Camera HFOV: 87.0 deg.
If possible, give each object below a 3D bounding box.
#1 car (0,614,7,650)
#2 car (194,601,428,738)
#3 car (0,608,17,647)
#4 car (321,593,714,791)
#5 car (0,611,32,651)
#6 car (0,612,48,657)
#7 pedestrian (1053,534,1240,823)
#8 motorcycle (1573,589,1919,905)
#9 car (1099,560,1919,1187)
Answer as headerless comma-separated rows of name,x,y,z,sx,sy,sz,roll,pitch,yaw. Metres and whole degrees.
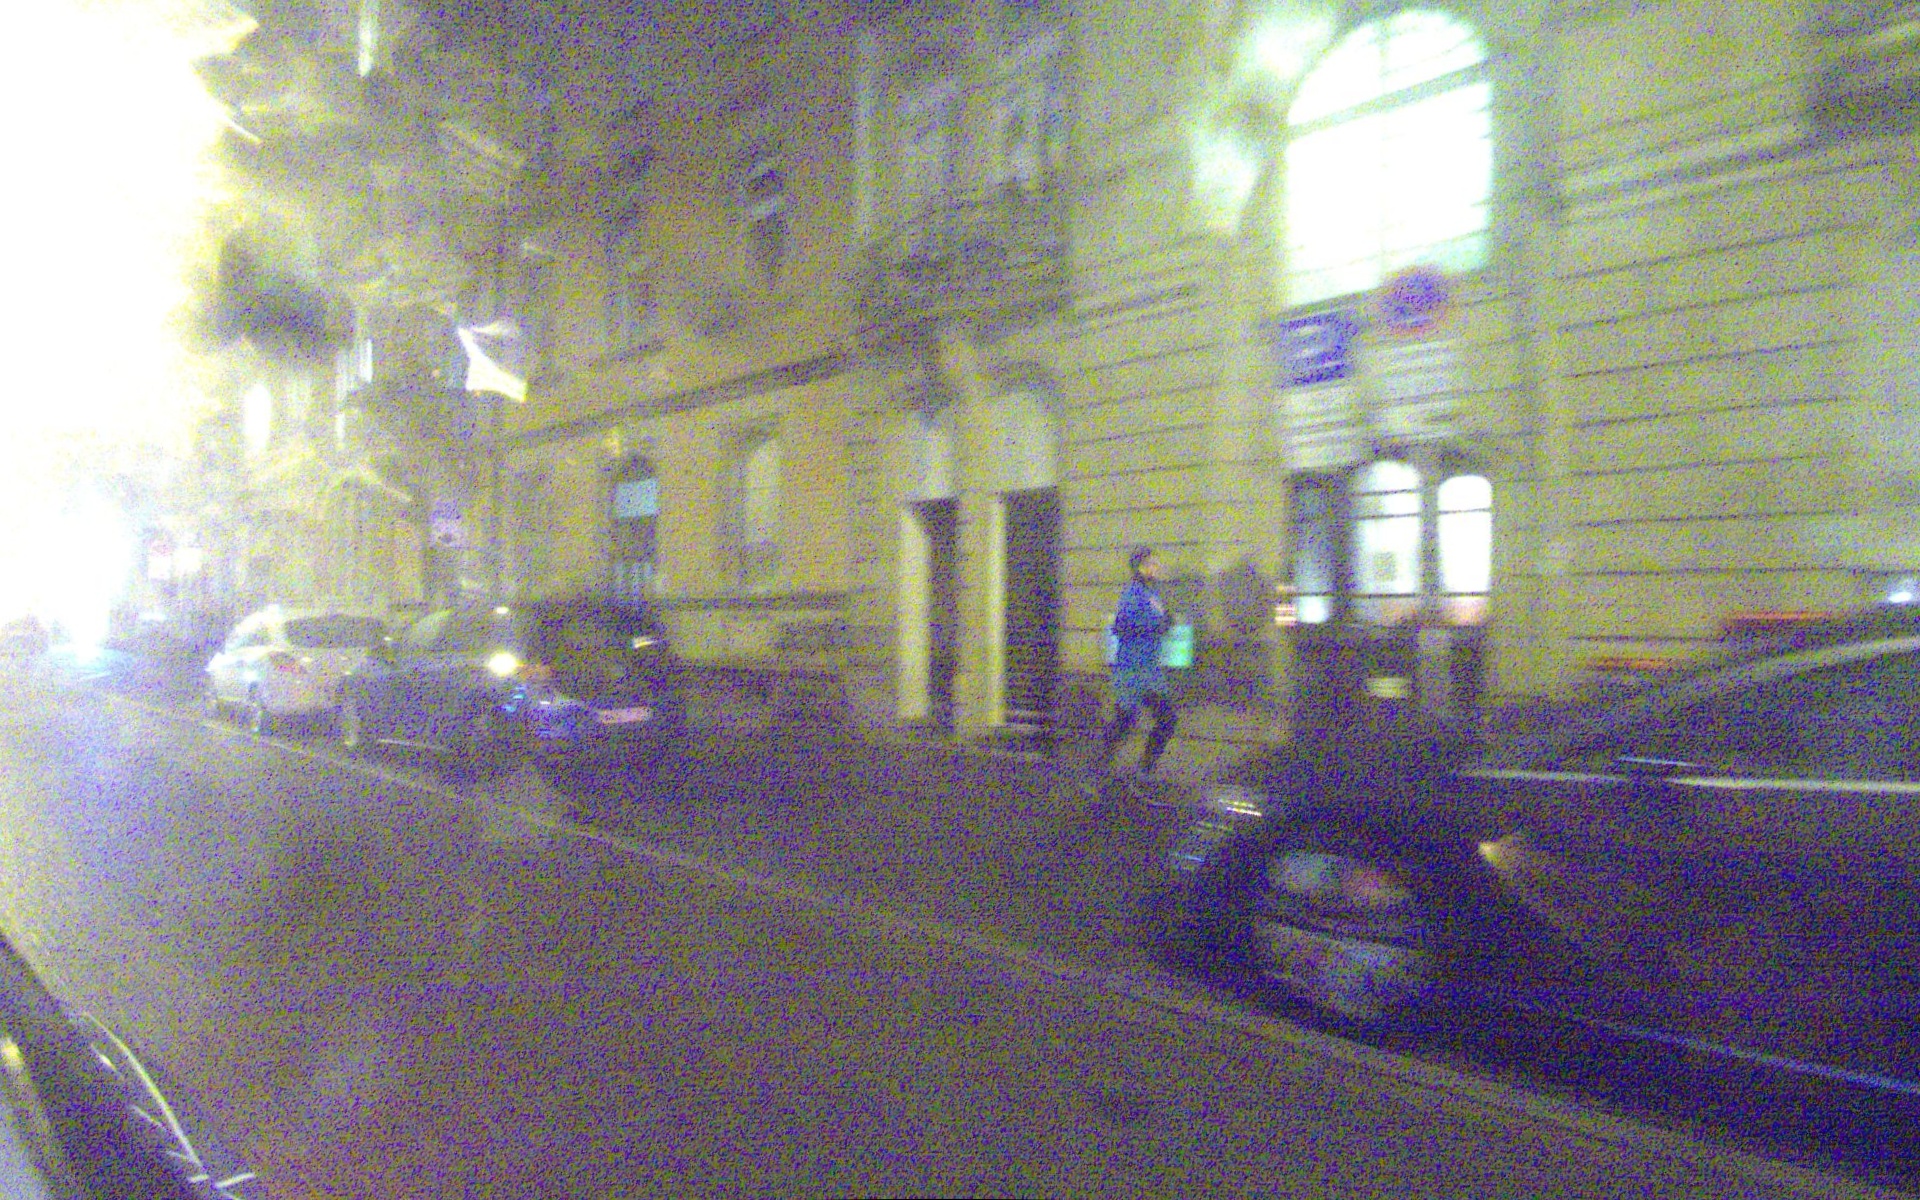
car,-45.284,1.471,46.504,3.733,1.592,1.828,-1,0,41
car,-8.439,0.782,13.035,3.786,1.489,1.697,-1,0,44
car,-41.570,1.164,43.031,3.733,1.592,1.828,-1,0,41
car,-4.324,0.724,9.616,4.155,1.489,1.699,-1,-1,39
car,-37.244,1.198,38.986,3.733,1.489,1.828,-1,0,41
car,-33.115,1.180,35.071,3.733,1.489,1.828,-1,0,41
pedestrian,1.290,0.503,7.071,1.078,1.846,0.667,-1,-1,43
motorcycle,4.155,0.694,5.379,1.457,1.482,0.531,-1,-1,41
car,3.019,0.657,2.978,5.029,1.489,1.827,-1,-1,42
